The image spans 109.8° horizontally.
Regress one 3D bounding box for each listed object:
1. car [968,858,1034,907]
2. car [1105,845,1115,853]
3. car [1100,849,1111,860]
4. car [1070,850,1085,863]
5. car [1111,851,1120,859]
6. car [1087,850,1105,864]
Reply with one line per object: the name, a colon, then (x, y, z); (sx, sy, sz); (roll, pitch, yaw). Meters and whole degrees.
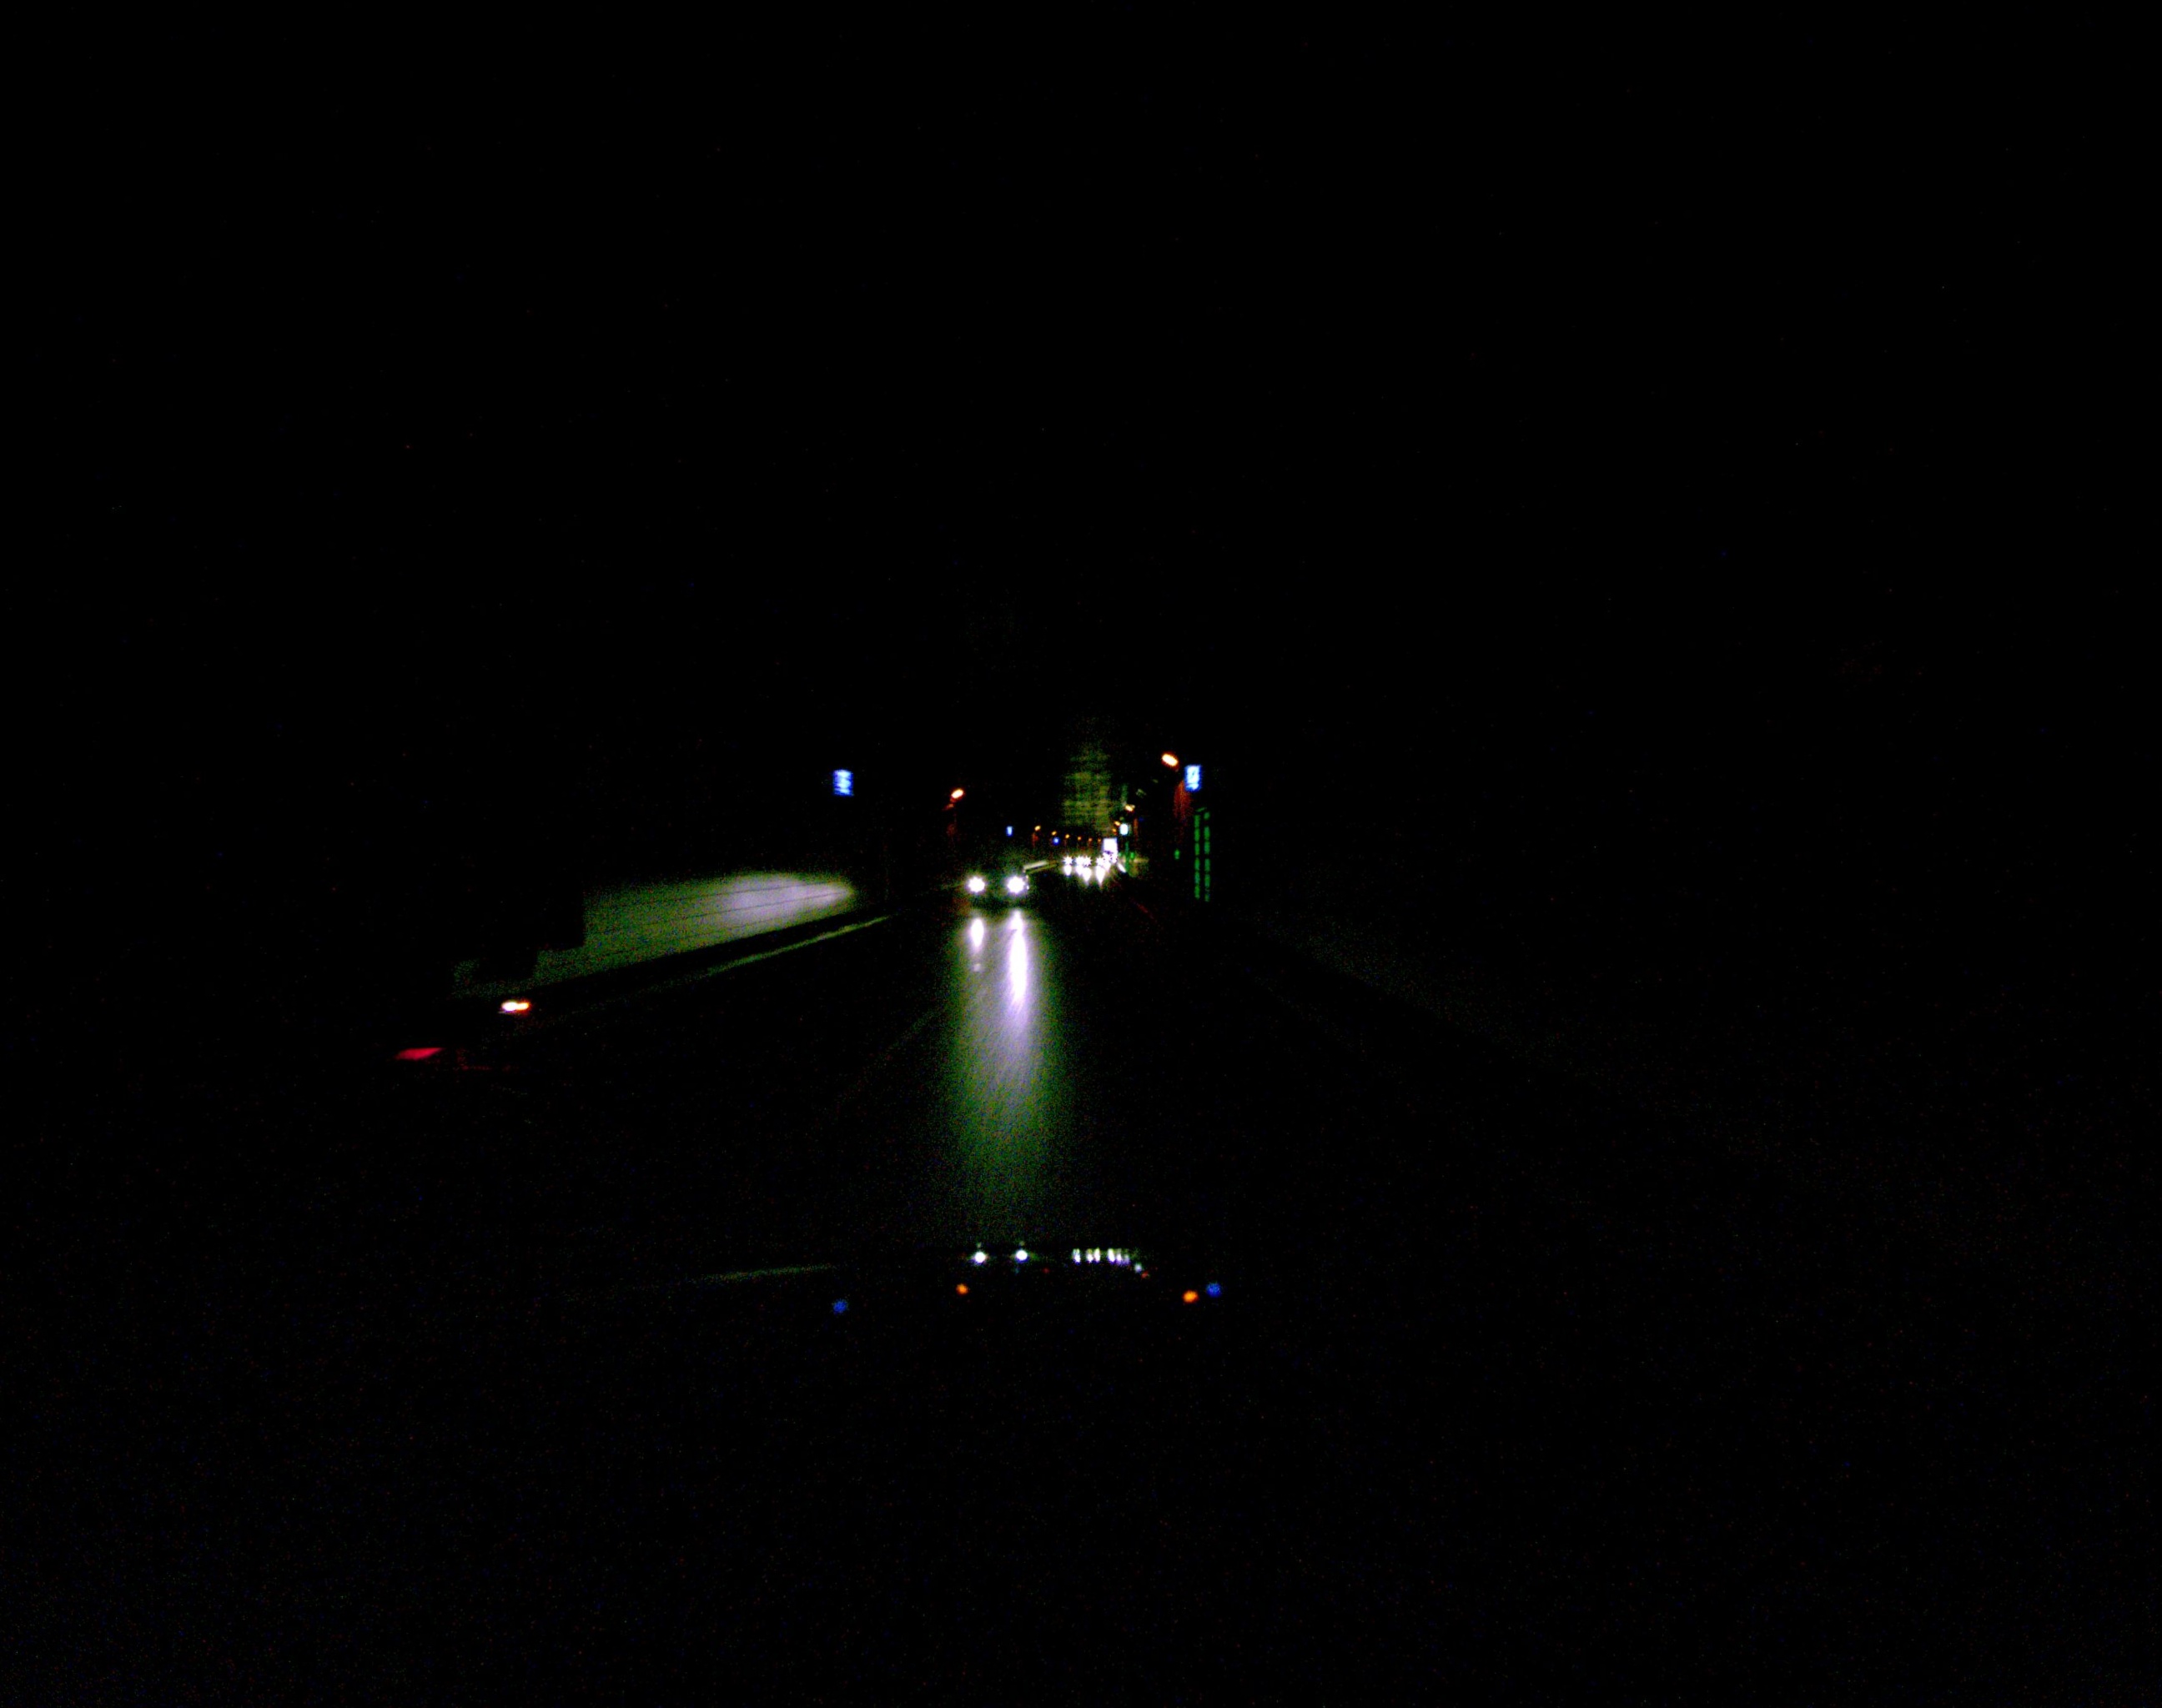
car: (-2.617, 0.909, 25.696); (1.735, 1.395, 3.798); (-2, 1, 0)
car: (7.217, -1.171, 190.036); (1.997, 1.904, 4.002); (-2, 1, 8)
car: (4.136, 0.015, 126.968); (1.714, 1.729, 3.999); (-1, 2, 3)
car: (-0.446, 0.326, 102.138); (1.735, 1.565, 4.001); (-2, 0, 3)
car: (7.264, 0.248, 161.556); (1.811, 1.576, 4.001); (-2, 0, 3)
car: (1.707, 0.337, 86.560); (1.819, 1.589, 4.001); (1, 0, 4)
